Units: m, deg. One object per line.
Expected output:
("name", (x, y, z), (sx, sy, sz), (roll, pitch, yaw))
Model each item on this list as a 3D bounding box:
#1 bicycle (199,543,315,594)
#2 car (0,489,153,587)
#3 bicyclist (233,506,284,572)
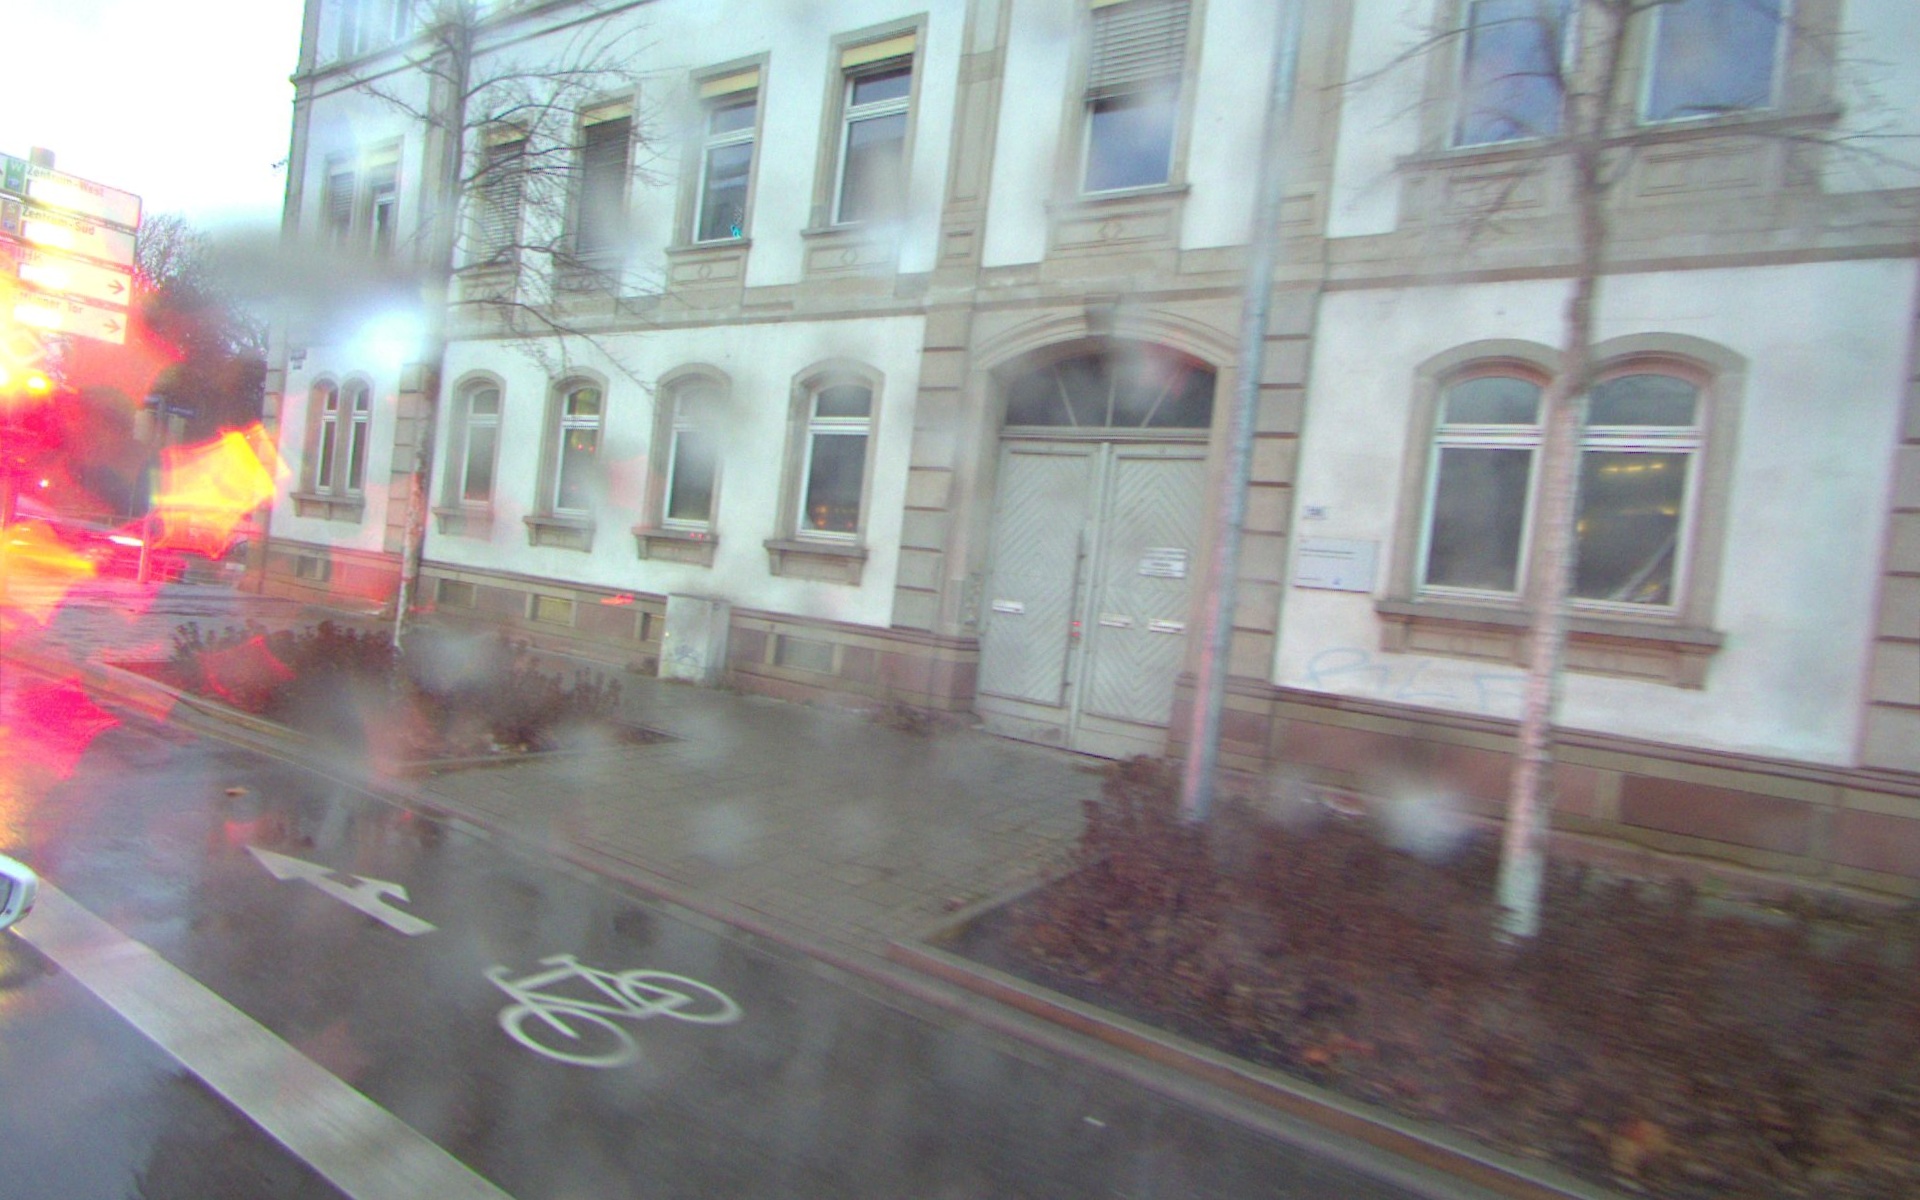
("bicycle", (-20.830, -0.922, 29.858), (2.659, 1.101, 0.805), (9, -3, -43))
("car", (-20.321, -1.457, 21.464), (4.674, 1.740, 1.849), (8, -2, -39))
("bicyclist", (-20.777, -1.804, 29.813), (0.969, 1.779, 0.804), (8, -2, -43))
